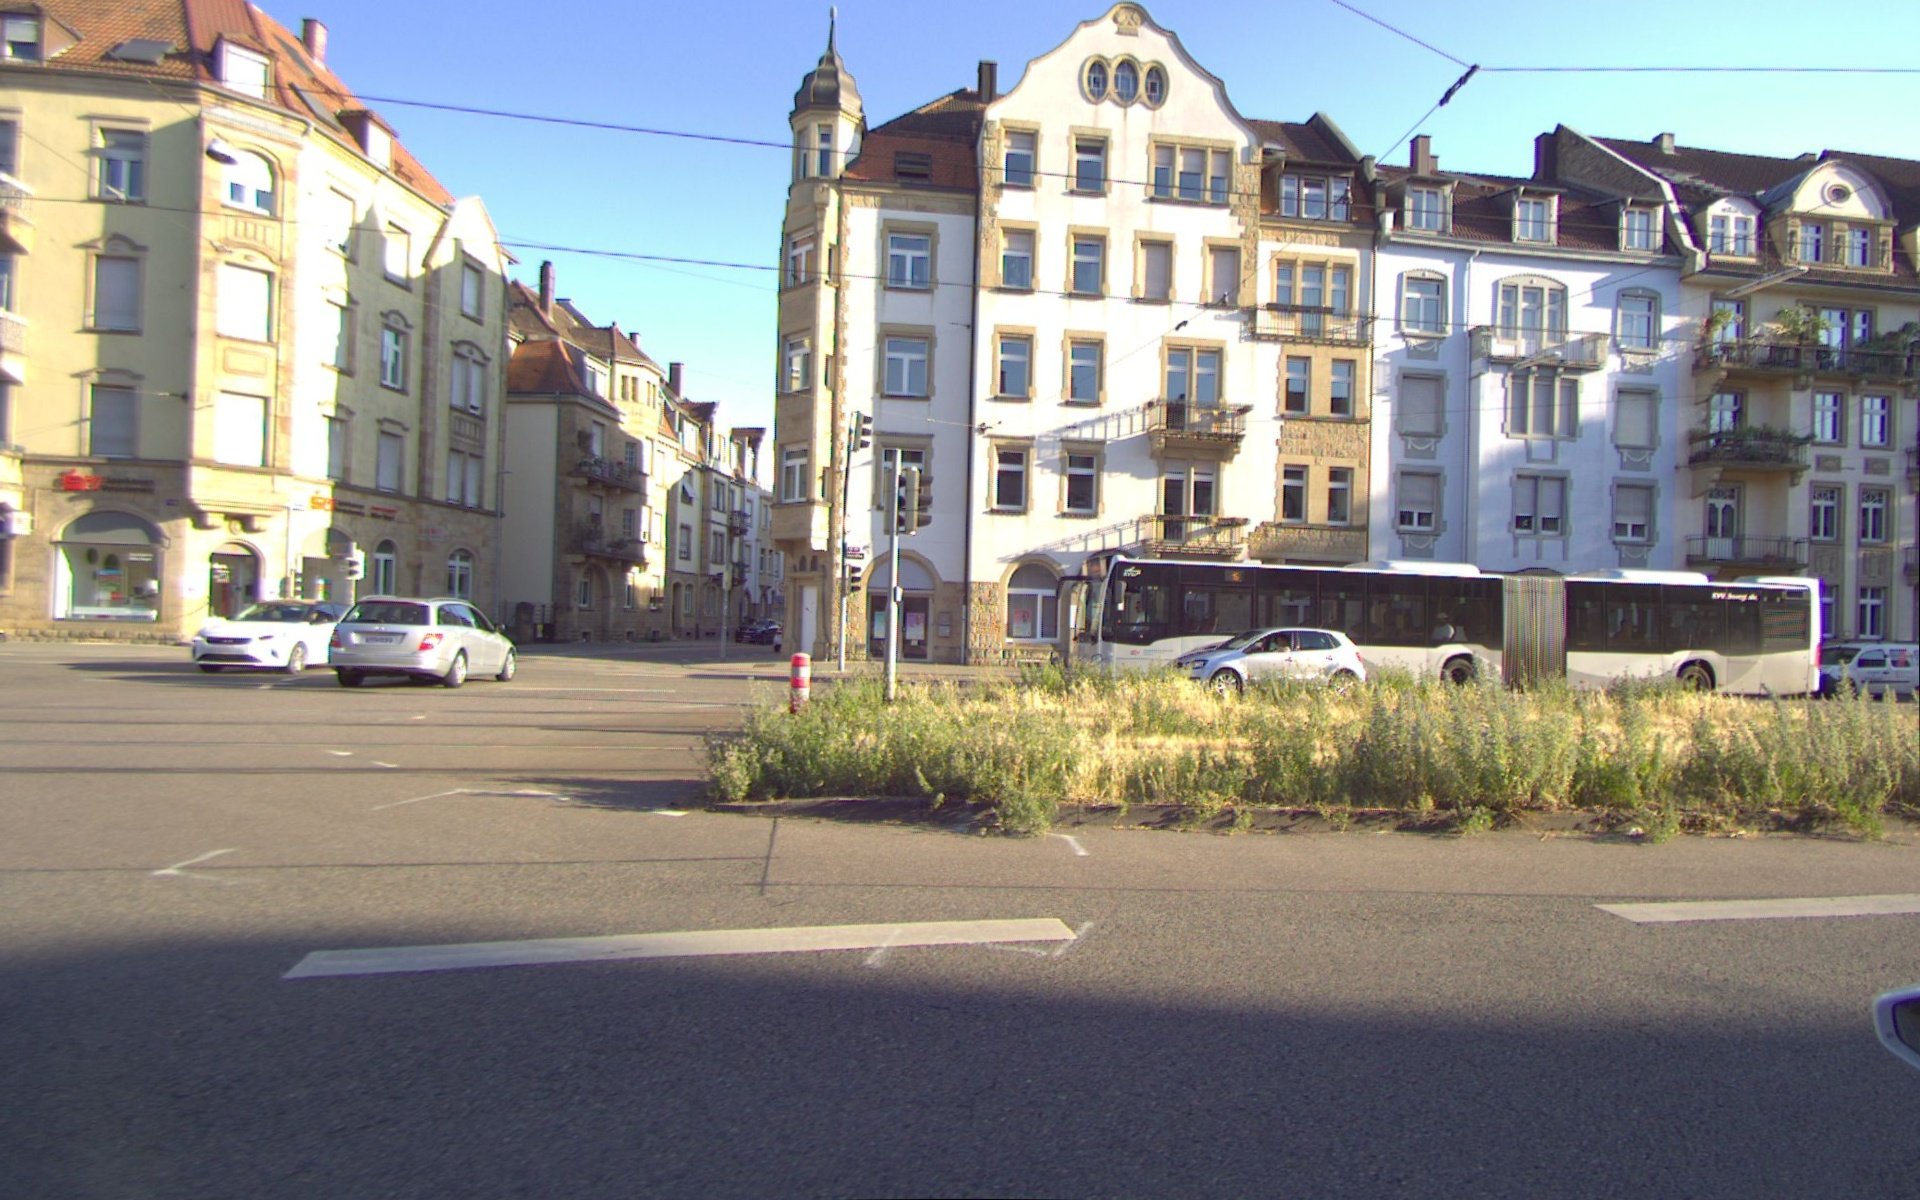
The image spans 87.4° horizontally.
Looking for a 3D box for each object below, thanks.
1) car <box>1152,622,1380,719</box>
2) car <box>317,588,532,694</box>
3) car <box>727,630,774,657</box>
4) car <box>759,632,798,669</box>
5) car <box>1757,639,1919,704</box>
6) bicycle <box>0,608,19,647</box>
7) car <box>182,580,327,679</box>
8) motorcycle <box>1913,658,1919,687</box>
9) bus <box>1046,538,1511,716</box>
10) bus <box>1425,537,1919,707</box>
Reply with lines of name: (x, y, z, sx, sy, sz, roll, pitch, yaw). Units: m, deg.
car: (6.069, 1.385, 20.221, 3.924, 1.706, 1.935, 3, -1, -5)
car: (-8.814, 0.686, 16.969, 1.705, 1.496, 4.169, 2, -2, -6)
car: (-13.654, 2.843, 65.663, 1.799, 1.636, 4.003, 2, -1, 5)
car: (-9.072, 2.479, 50.026, 1.804, 1.636, 3.992, 3, -1, -11)
car: (28.091, 2.237, 31.697, 4.566, 1.810, 1.909, 3, -1, -6)
bicycle: (-27.836, 0.722, 27.901, 2.459, 1.070, 0.666, 2, -1, -11)
car: (-13.970, 0.563, 20.114, 1.813, 1.728, 3.971, 3, -2, -28)
motorcycle: (35.946, 2.678, 36.502, 2.376, 1.035, 0.529, 2, 2, -9)
bus: (7.165, 0.669, 23.298, 9.716, 3.418, 3.272, 3, -1, -7)
bus: (17.917, 0.626, 24.708, 11.755, 3.418, 3.262, 3, -1, -7)
